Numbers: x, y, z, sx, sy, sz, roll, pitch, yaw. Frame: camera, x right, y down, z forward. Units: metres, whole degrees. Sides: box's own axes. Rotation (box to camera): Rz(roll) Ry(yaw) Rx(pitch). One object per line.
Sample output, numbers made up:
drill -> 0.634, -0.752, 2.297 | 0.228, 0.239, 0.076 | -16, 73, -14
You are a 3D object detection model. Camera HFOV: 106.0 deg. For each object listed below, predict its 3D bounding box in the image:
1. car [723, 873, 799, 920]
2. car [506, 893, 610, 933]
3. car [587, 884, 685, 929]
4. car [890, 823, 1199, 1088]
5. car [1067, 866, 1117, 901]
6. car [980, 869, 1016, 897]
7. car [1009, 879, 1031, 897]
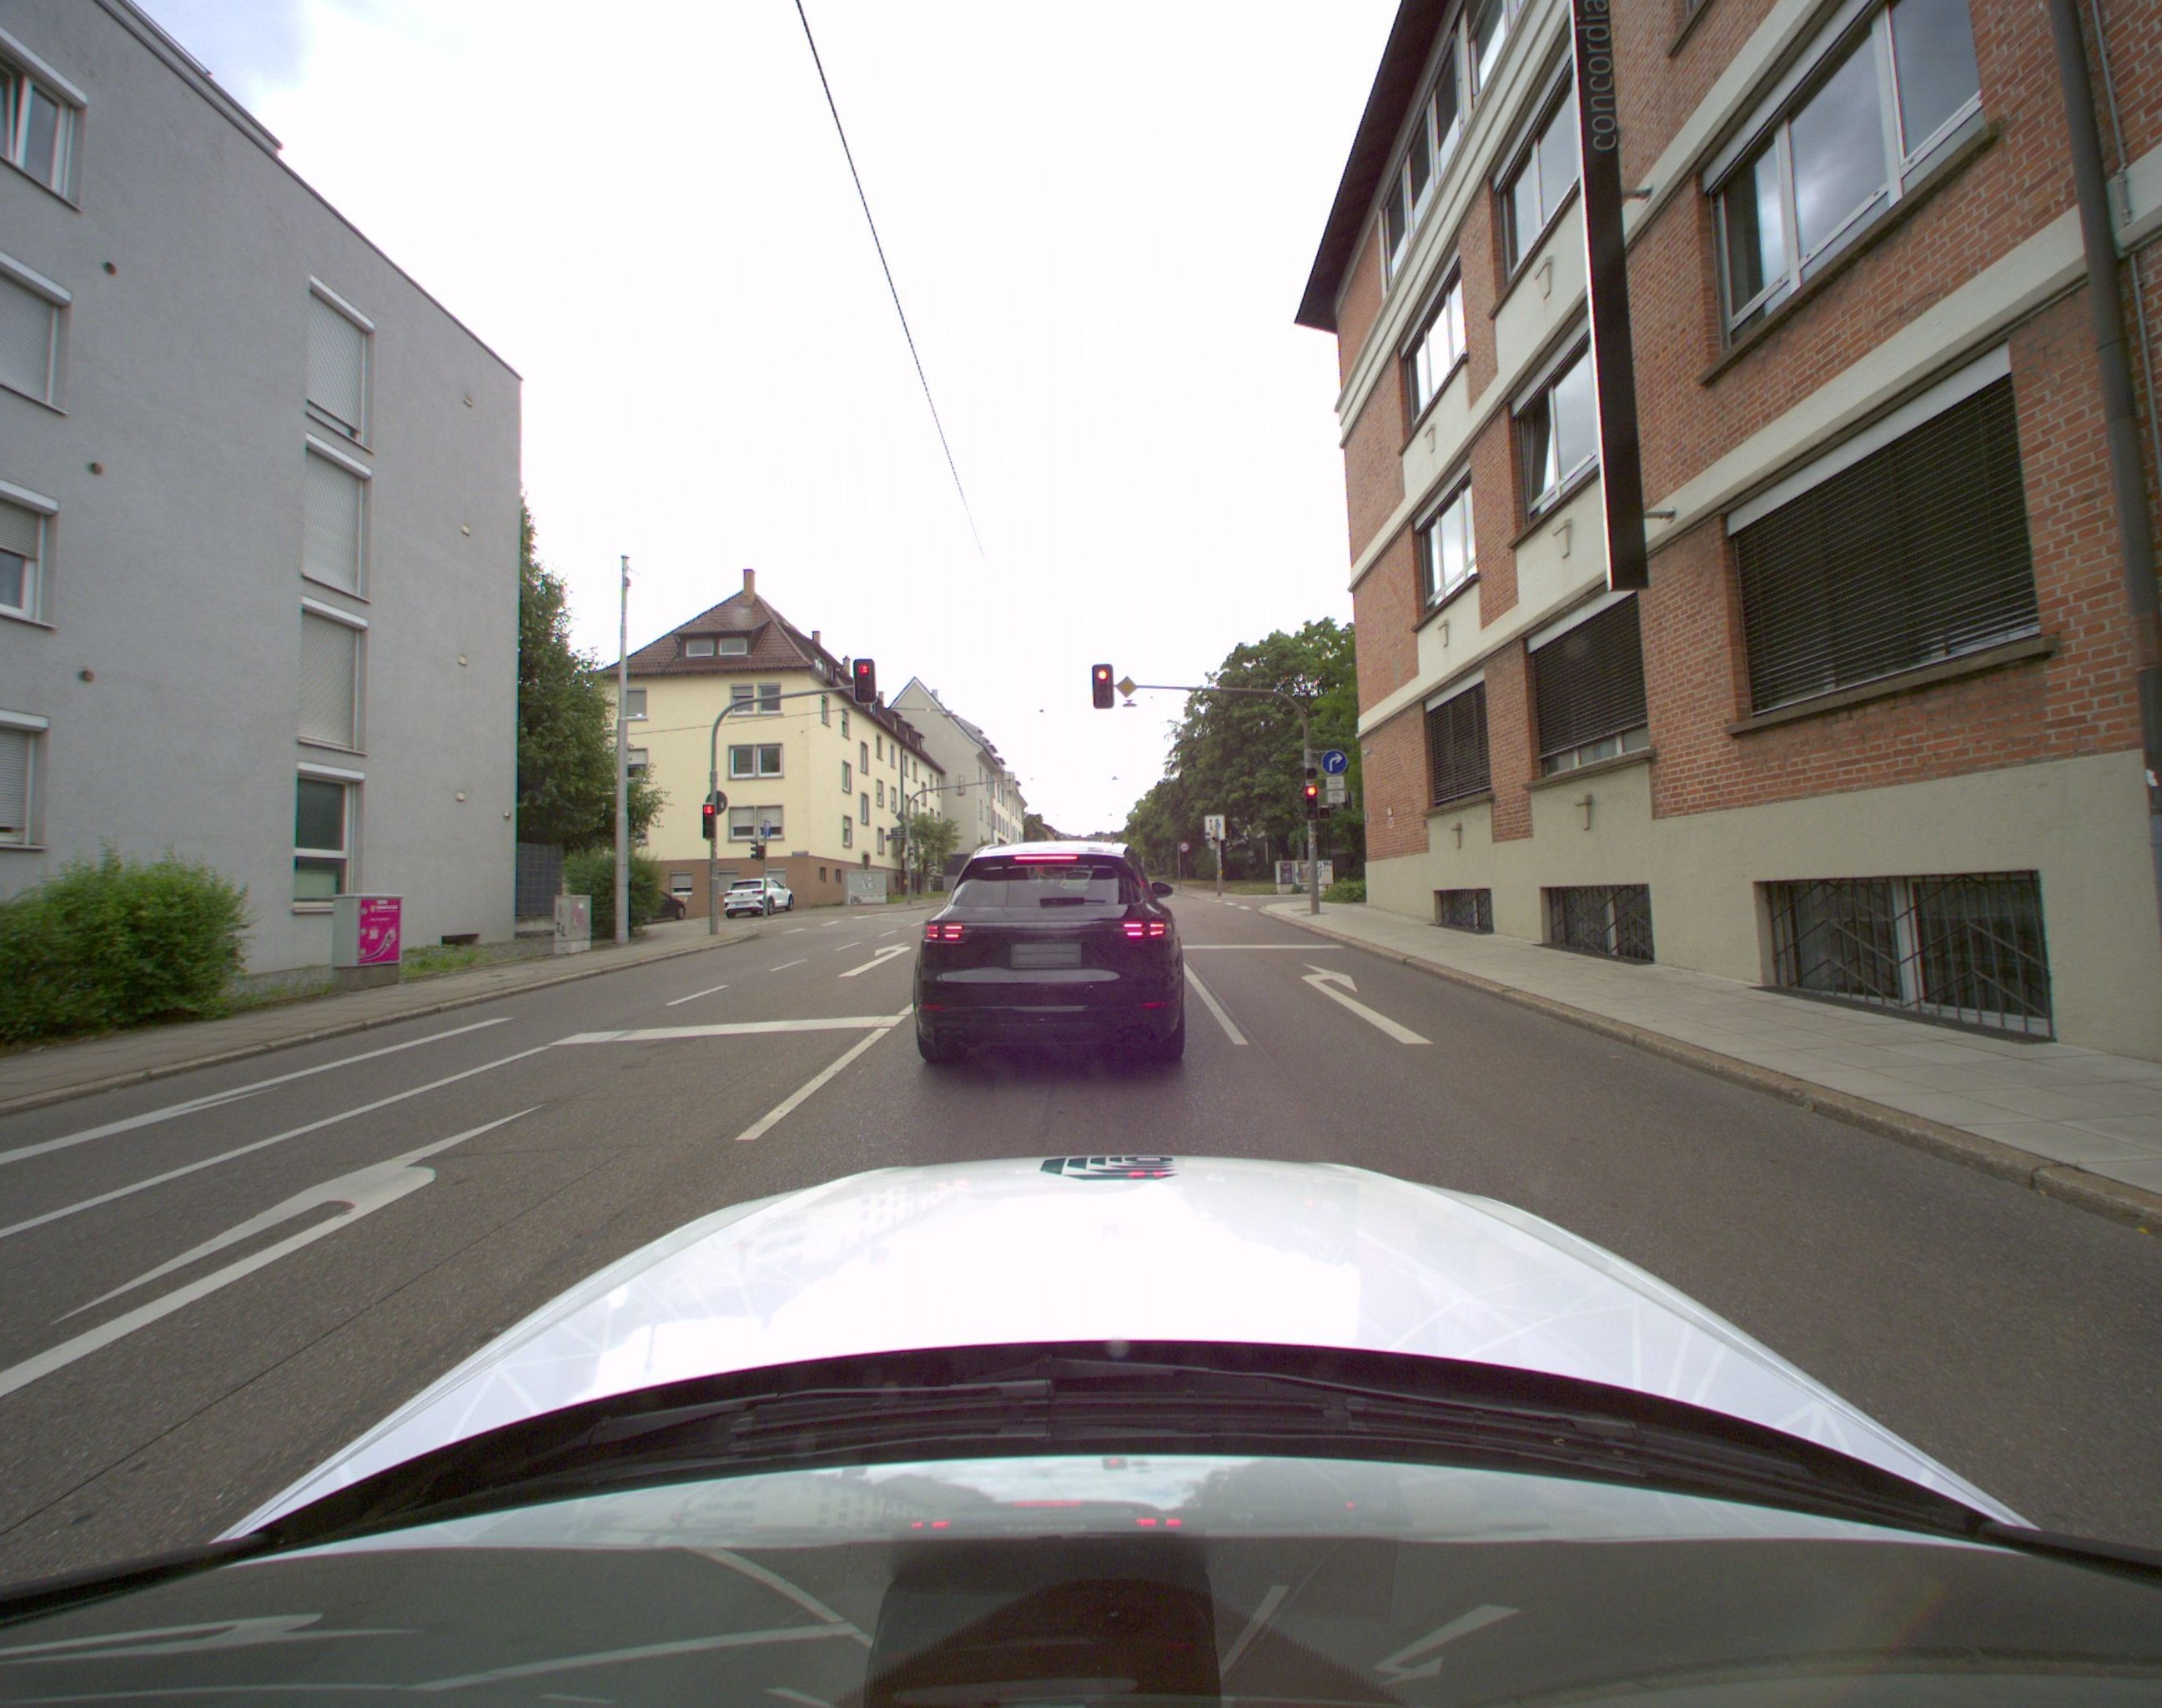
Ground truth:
car -> -13.439, 1.744, 34.403 | 1.666, 1.662, 3.996 | -4, 0, -3
car -> -21.741, 2.428, 34.043 | 1.663, 1.362, 4.001 | -1, -1, 2
car -> -18.642, 2.158, 34.350 | 1.664, 1.546, 4.103 | -5, -1, 2
car -> -0.177, 0.670, 7.259 | 1.986, 1.697, 4.001 | 0, -1, 2
car -> 0.561, 1.359, 38.950 | 1.677, 1.552, 3.901 | -1, -1, 11
car -> -5.241, 1.832, 51.949 | 1.657, 1.519, 3.742 | -5, -1, 2
car -> -5.200, 2.859, 69.652 | 1.665, 1.362, 3.998 | -1, -1, -1
